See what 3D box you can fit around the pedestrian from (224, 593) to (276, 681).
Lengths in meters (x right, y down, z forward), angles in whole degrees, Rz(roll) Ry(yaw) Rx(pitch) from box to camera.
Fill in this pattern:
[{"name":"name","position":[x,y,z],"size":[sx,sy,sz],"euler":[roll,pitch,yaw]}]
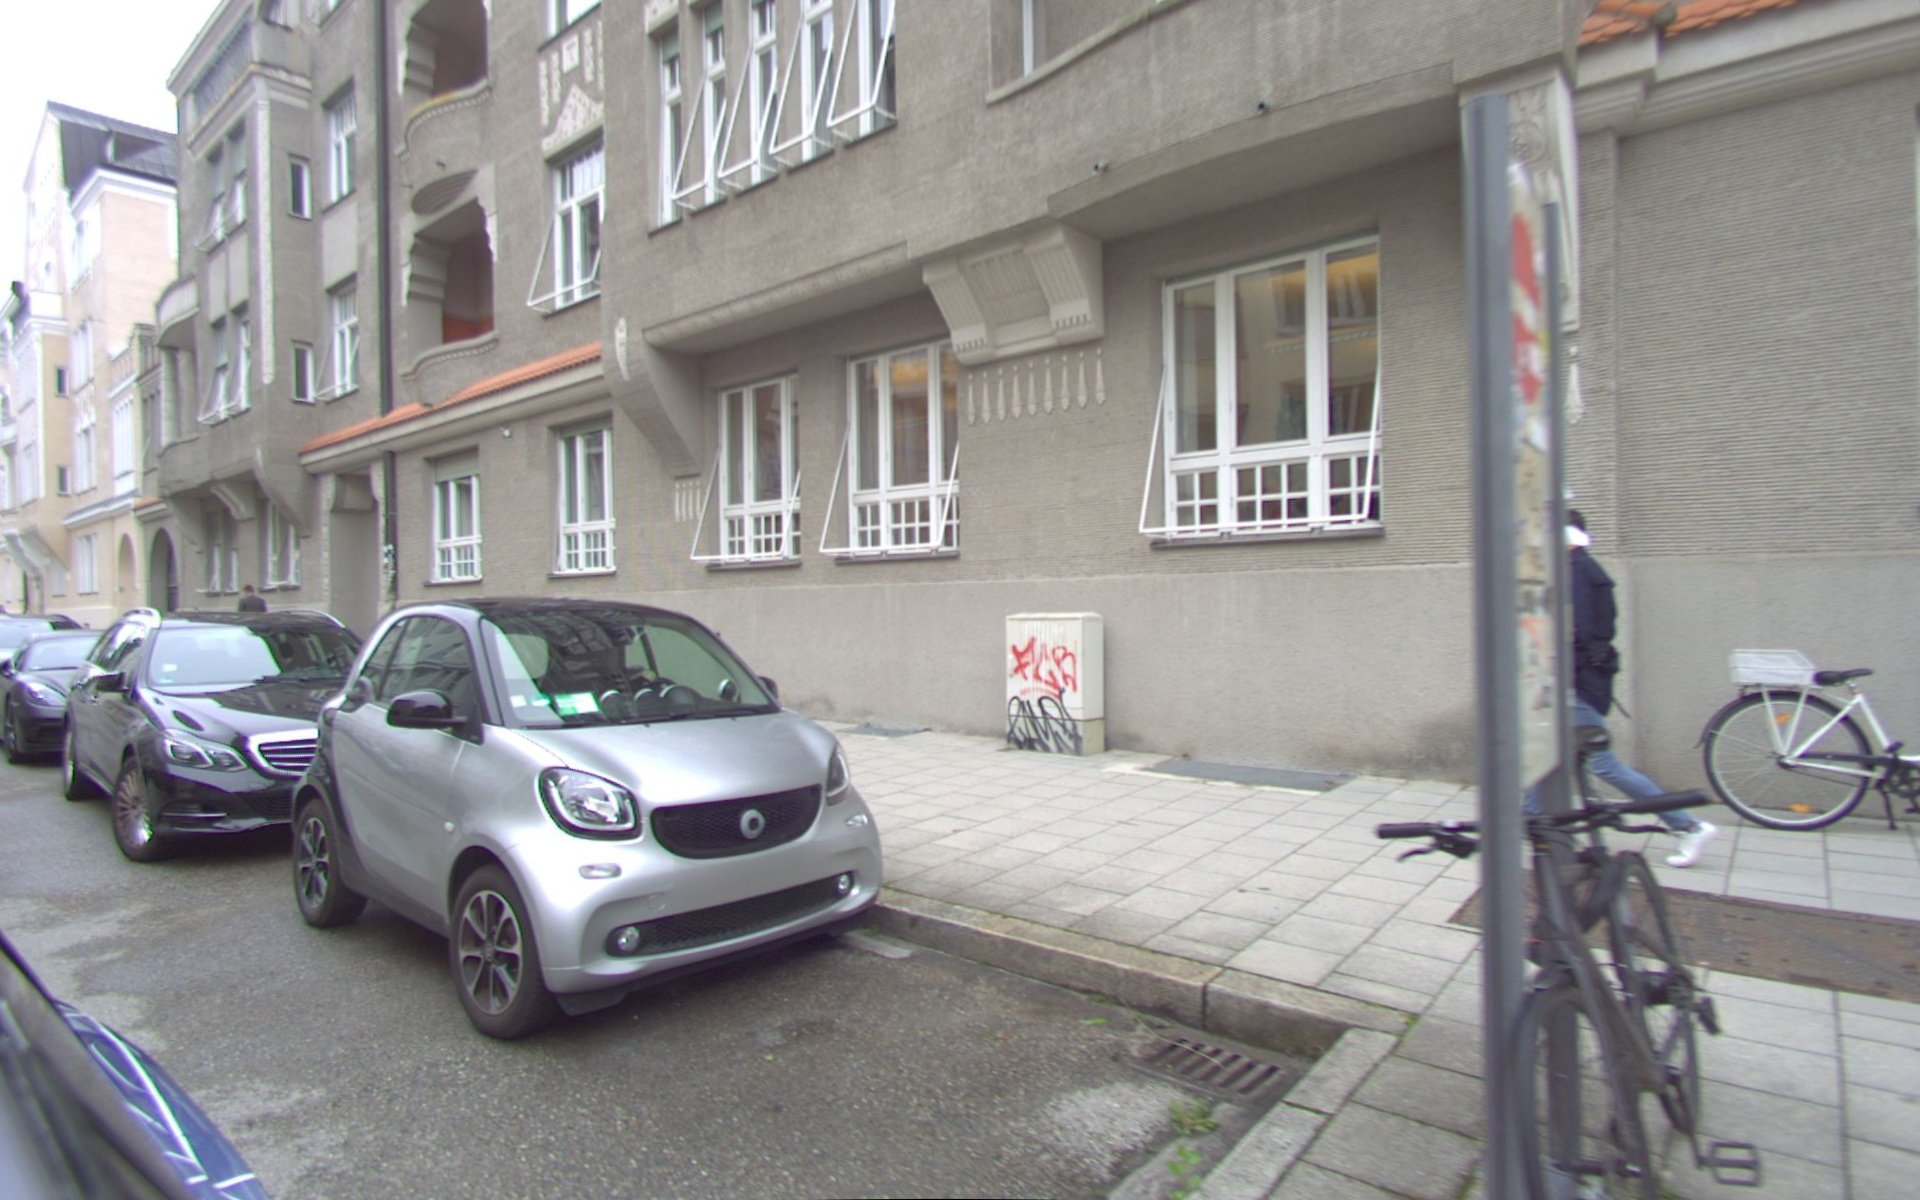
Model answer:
[{"name":"pedestrian","position":[-15.154,0.777,21.609],"size":[0.730,1.831,0.709],"euler":[-1,0,39]}]

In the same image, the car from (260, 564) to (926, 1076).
[{"name":"car","position":[-1.782,0.695,4.639],"size":[2.910,1.526,1.686],"euler":[-1,-2,41]}]

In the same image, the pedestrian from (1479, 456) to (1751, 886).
[{"name":"pedestrian","position":[3.147,0.295,4.865],"size":[0.936,1.800,0.830],"euler":[-1,0,43]}]

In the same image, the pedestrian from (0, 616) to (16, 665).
[{"name":"pedestrian","position":[-34.528,1.448,36.202],"size":[0.938,1.741,0.983],"euler":[-1,0,40]}]

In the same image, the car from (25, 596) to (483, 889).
[{"name":"car","position":[-5.472,0.789,7.546],"size":[4.705,1.526,1.737],"euler":[-1,0,41]}]

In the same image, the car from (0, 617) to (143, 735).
[{"name":"car","position":[-13.657,1.010,14.588],"size":[4.773,1.459,1.974],"euler":[-1,0,39]}]

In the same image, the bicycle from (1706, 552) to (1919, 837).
[{"name":"bicycle","position":[4.791,0.446,5.059],"size":[1.672,1.359,0.613],"euler":[-1,0,36]}]

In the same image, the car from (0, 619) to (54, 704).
[{"name":"car","position":[-18.033,1.080,18.448],"size":[4.438,1.442,1.786],"euler":[-2,-2,42]}]

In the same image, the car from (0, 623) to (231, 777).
[{"name":"car","position":[-9.632,0.954,11.153],"size":[4.095,1.341,1.737],"euler":[-1,0,41]}]

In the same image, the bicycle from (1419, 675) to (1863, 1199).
[{"name":"bicycle","position":[1.540,0.764,2.203],"size":[0.539,1.022,1.785],"euler":[-1,1,39]}]
